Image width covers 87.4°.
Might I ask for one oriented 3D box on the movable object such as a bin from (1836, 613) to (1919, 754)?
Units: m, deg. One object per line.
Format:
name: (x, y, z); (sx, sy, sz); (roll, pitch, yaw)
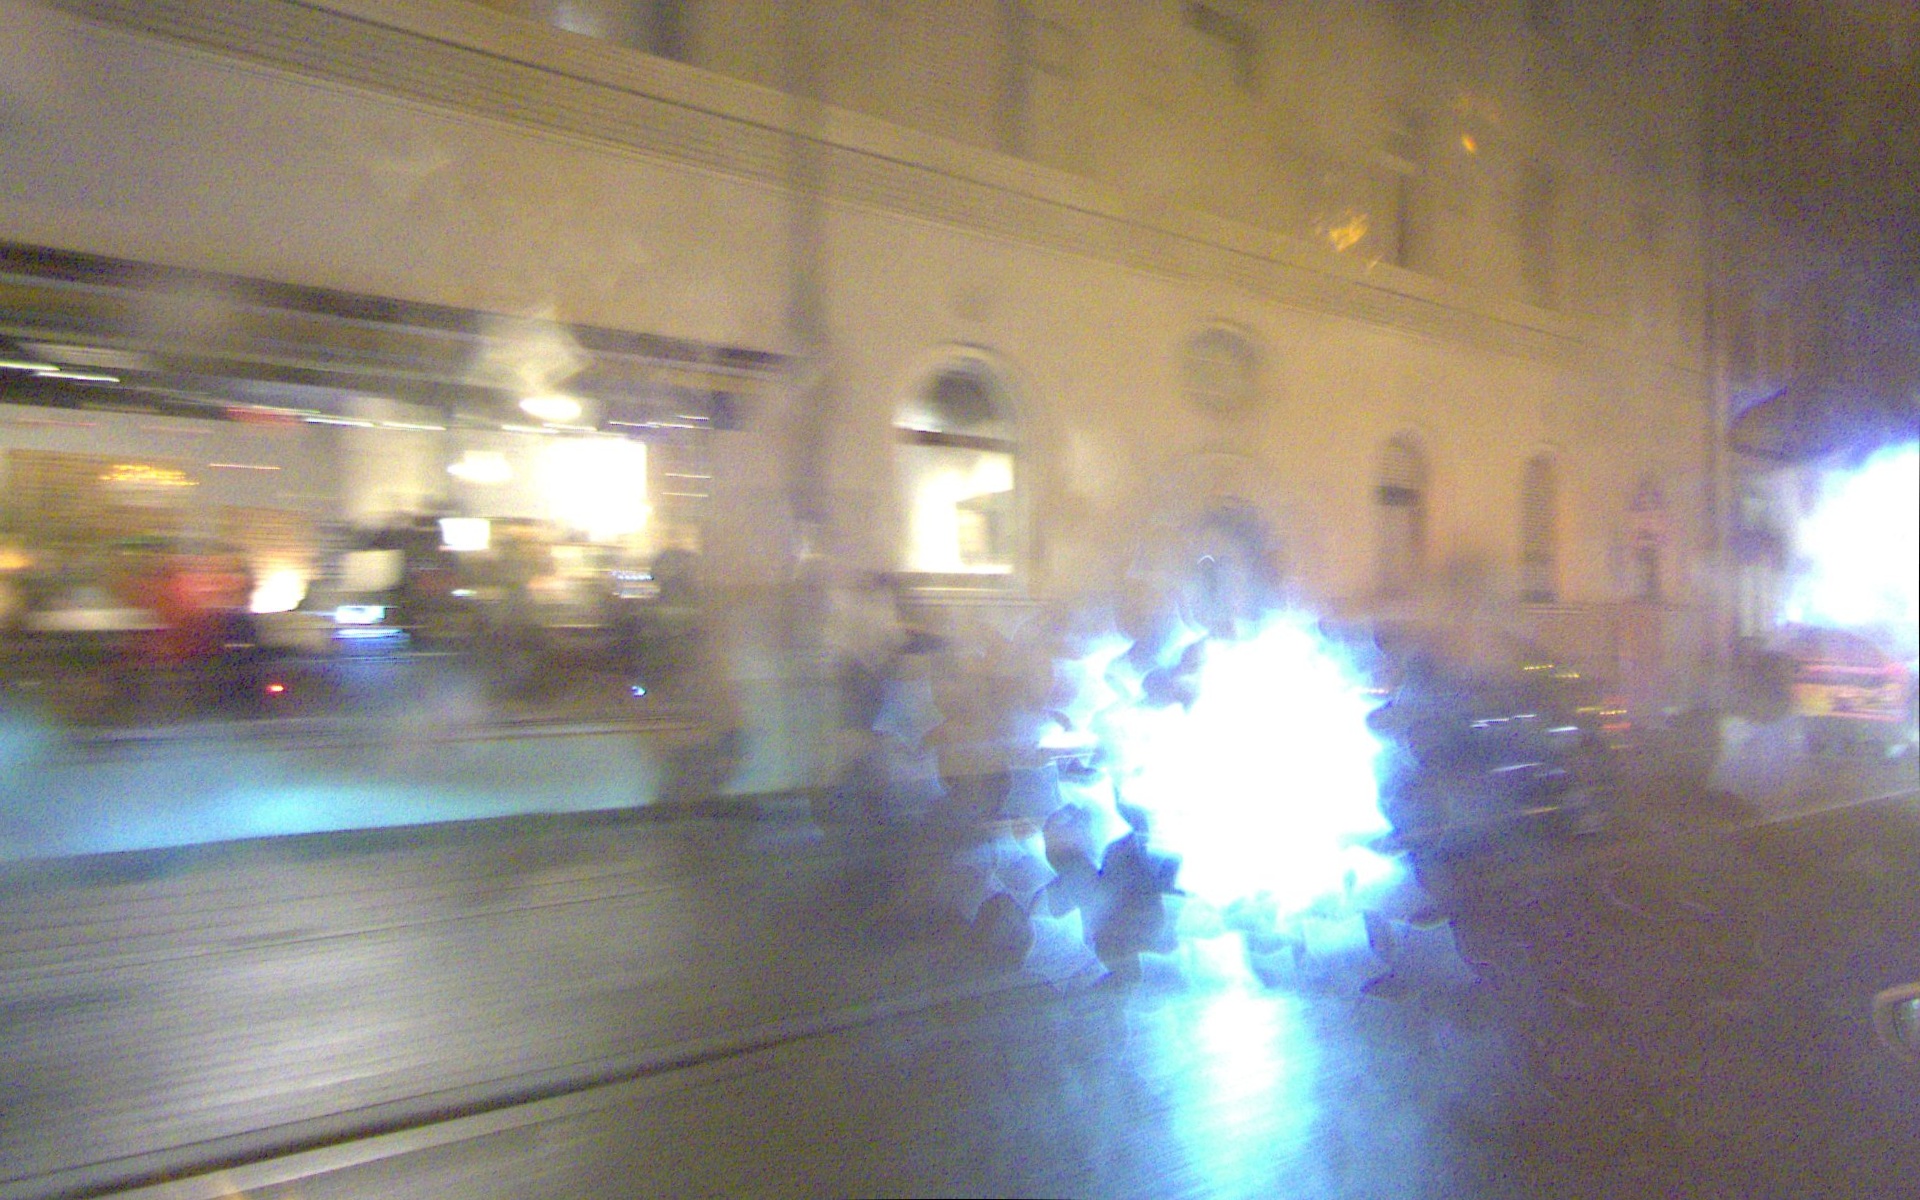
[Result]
movable object such as a bin: (10.628, 0.908, 11.051); (1.093, 1.479, 1.160); (1, 1, -28)

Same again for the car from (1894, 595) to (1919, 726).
car: (14.488, 0.827, 13.711); (3.678, 1.729, 1.595); (1, 0, -31)

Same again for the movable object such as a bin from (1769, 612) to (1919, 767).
movable object such as a bin: (9.510, 0.887, 10.566); (1.093, 1.479, 1.203); (1, 1, -28)

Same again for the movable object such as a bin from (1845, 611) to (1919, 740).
movable object such as a bin: (11.551, 0.889, 11.898); (1.136, 1.479, 1.257); (1, 1, -28)

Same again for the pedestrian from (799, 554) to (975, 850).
pedestrian: (-0.519, 0.629, 6.827); (0.778, 1.806, 1.127); (1, 0, -30)

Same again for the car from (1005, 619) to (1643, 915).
car: (2.483, 0.832, 6.529); (4.173, 1.377, 1.646); (1, -1, -31)
